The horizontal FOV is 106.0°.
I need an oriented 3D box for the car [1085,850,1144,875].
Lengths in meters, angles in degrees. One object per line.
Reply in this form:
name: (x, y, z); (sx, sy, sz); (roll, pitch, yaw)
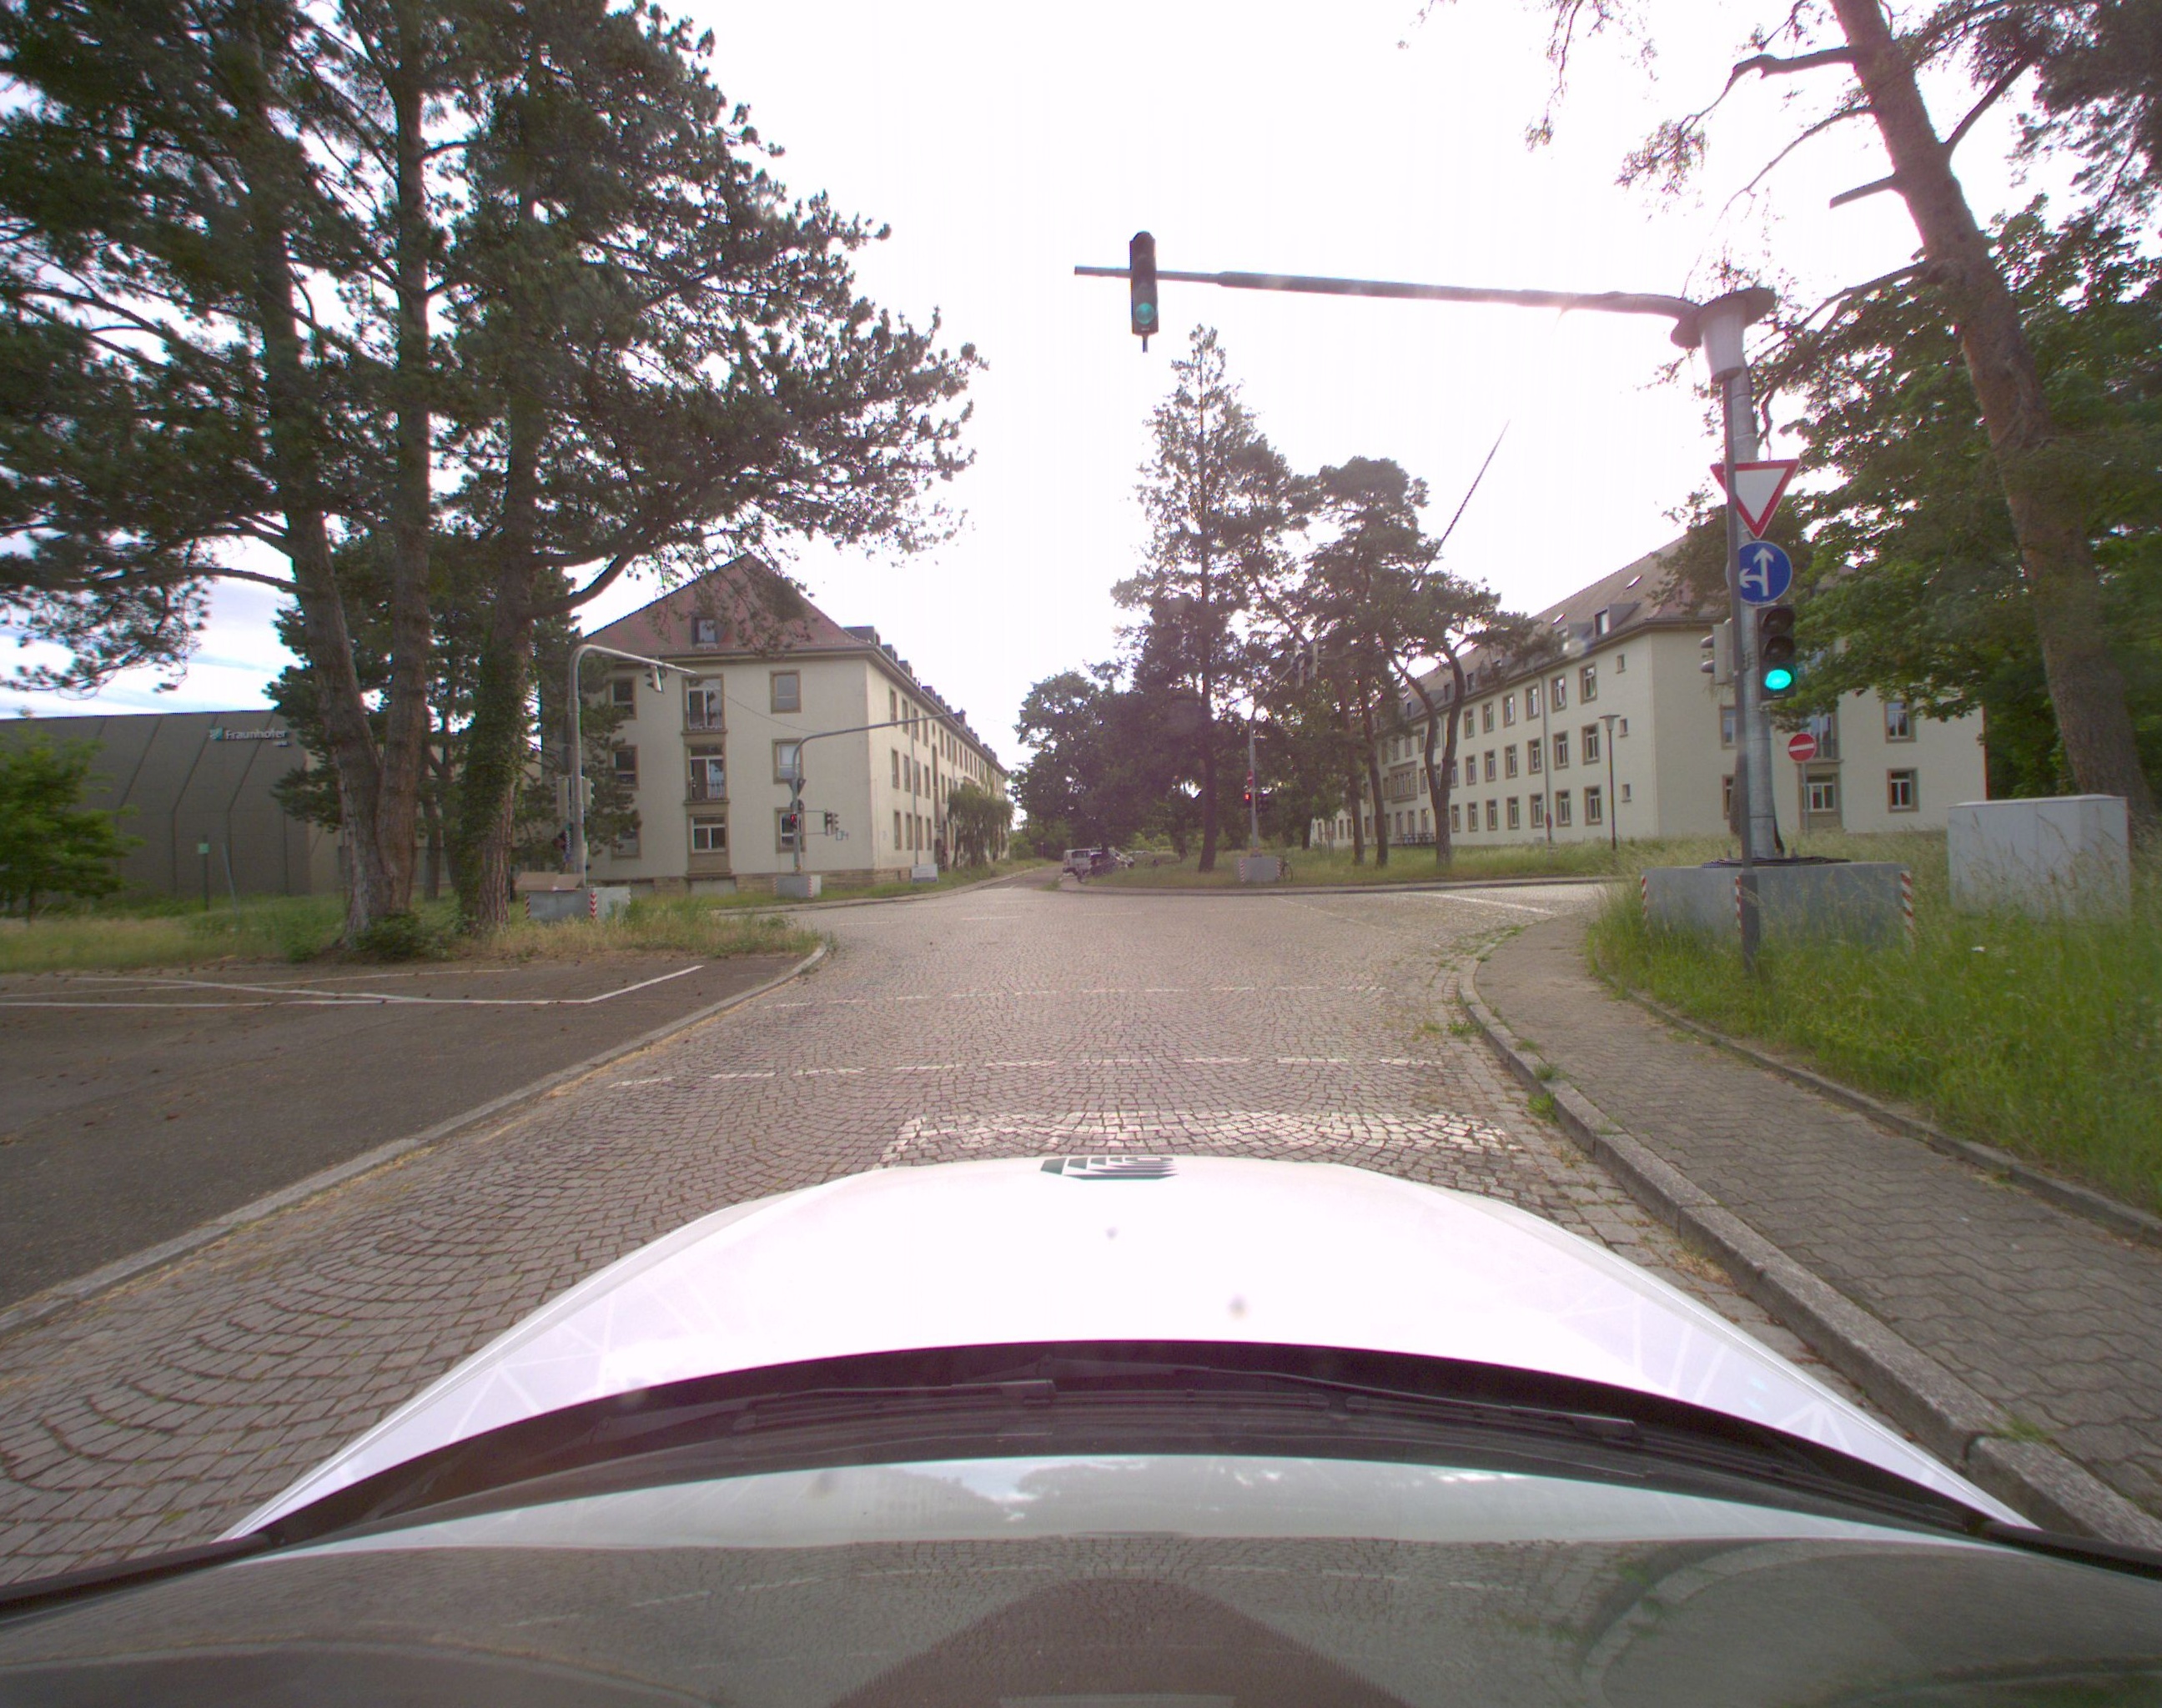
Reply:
car: (2.291, 0.602, 57.114); (3.925, 1.544, 1.997); (-2, 0, -4)

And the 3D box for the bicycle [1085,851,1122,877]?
bicycle: (1.286, 0.583, 46.976); (2.062, 1.378, 0.620); (-2, 0, 1)

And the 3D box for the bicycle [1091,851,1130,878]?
bicycle: (1.588, 0.562, 43.892); (2.062, 1.378, 0.620); (-2, 0, 1)

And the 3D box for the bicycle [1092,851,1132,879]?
bicycle: (1.613, 0.554, 42.596); (2.062, 1.378, 0.620); (-2, 0, 1)

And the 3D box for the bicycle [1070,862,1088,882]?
bicycle: (-0.097, 0.891, 40.813); (0.614, 0.963, 2.081); (-2, 0, 8)

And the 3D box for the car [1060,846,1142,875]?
car: (1.452, 0.487, 60.492); (5.695, 1.910, 2.221); (-2, 0, -12)

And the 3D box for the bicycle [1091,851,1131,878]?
bicycle: (1.581, 0.558, 43.267); (2.062, 1.378, 0.620); (-2, 0, 1)

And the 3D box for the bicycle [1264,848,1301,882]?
bicycle: (7.467, 0.398, 30.273); (0.905, 1.177, 1.874); (-2, 0, 0)

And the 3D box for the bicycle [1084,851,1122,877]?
bicycle: (1.259, 0.578, 46.229); (2.062, 1.378, 0.620); (-2, 0, 1)

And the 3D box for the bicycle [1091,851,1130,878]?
bicycle: (1.610, 0.567, 44.689); (2.062, 1.378, 0.620); (-2, 0, 1)

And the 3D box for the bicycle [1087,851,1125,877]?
bicycle: (1.397, 0.572, 45.490); (2.062, 1.378, 0.620); (-2, 0, 1)

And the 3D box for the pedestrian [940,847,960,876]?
pedestrian: (-9.346, 0.564, 58.193); (1.081, 2.013, 1.023); (-2, 0, 6)

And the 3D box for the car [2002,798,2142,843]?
car: (56.573, -1.858, 46.583); (5.160, 2.288, 2.214); (-2, 0, 2)
